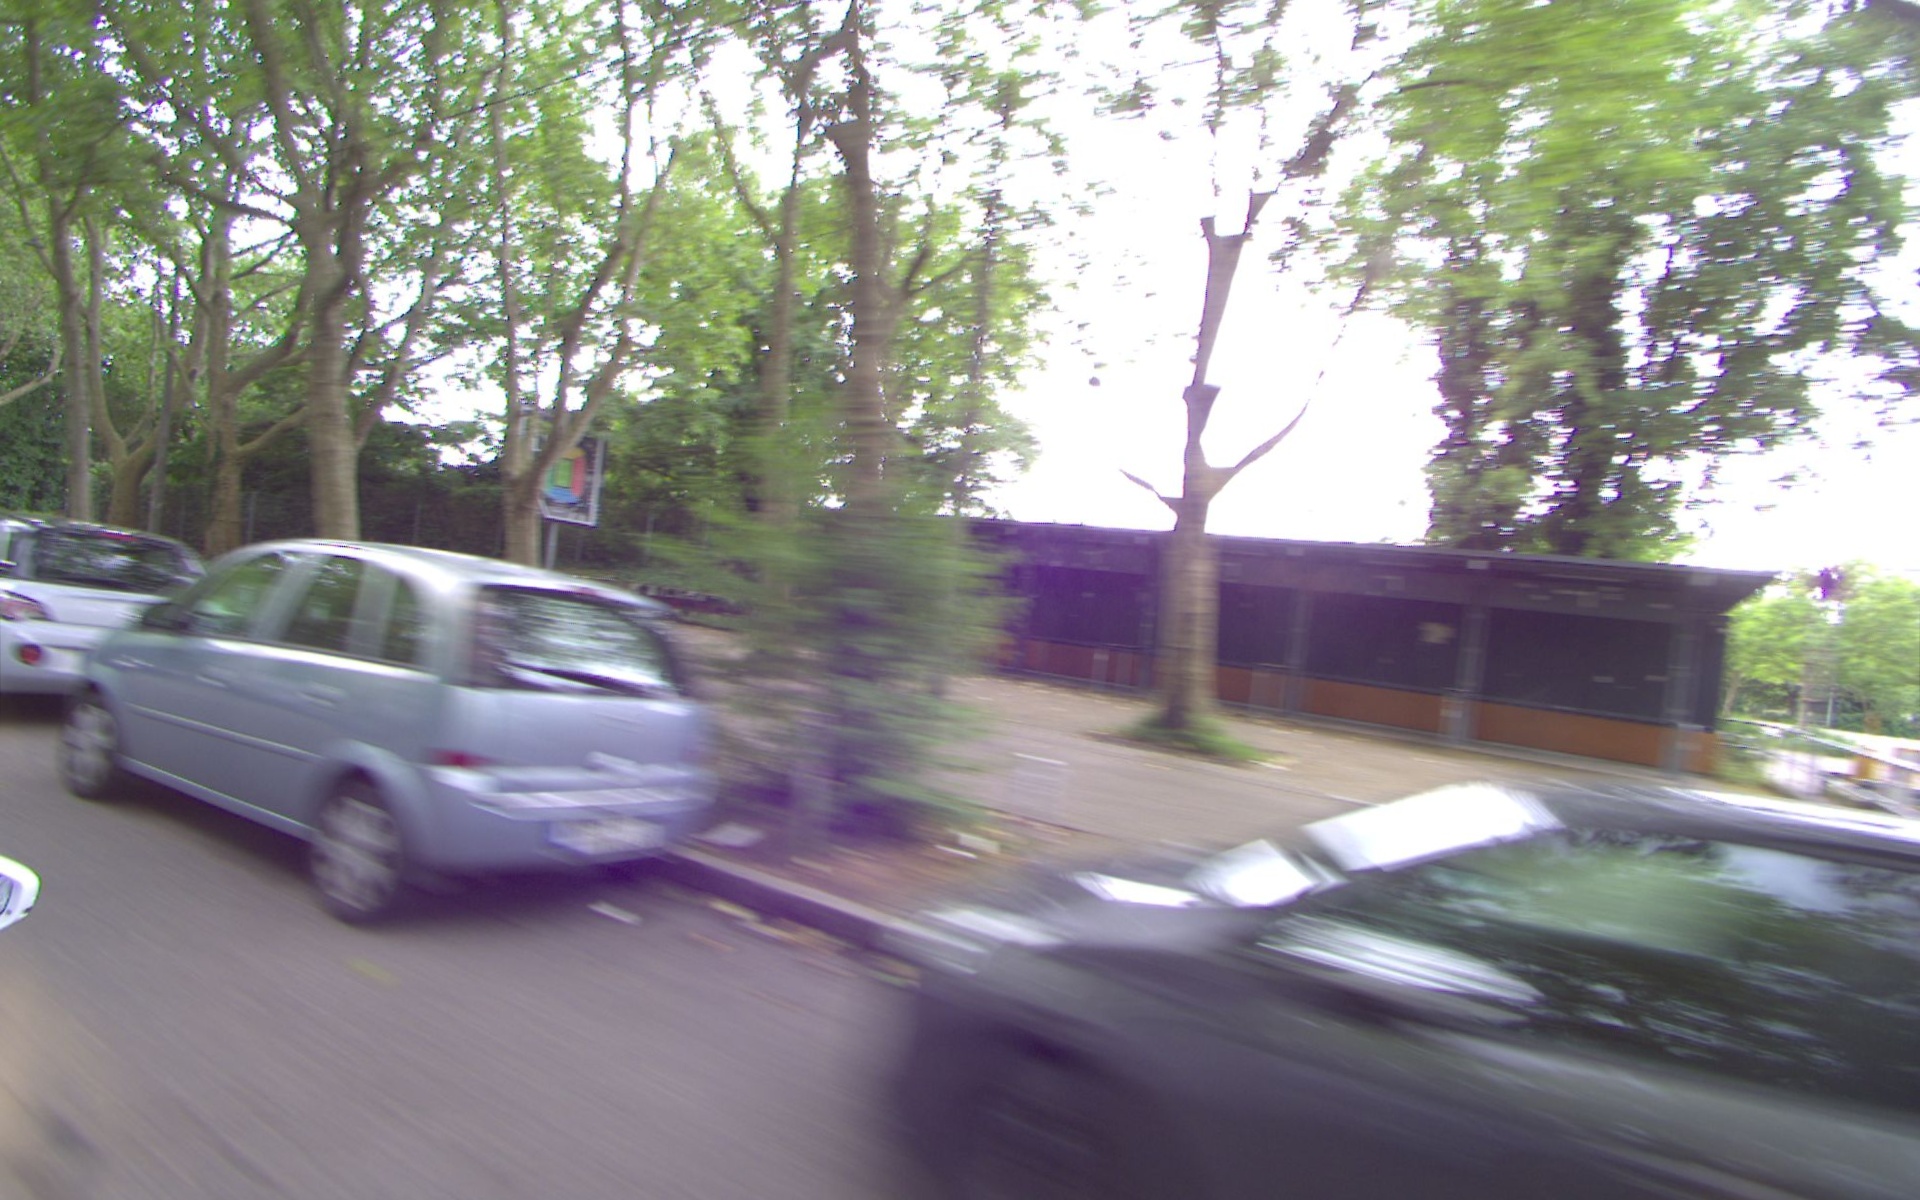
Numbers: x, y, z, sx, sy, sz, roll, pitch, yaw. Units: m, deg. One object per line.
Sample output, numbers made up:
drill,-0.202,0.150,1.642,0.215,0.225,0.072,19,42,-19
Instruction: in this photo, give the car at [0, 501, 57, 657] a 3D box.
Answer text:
car,-11.596,-0.505,10.623,4.343,1.505,1.761,7,-4,32

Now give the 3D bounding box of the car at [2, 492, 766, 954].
car,-3.292,0.475,5.604,4.025,1.583,1.725,7,-4,30

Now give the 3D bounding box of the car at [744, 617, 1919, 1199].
car,1.824,1.156,2.232,4.380,1.535,1.704,7,-4,32

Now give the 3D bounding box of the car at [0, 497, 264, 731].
car,-7.578,-0.001,8.262,3.627,1.505,1.680,6,-4,34
